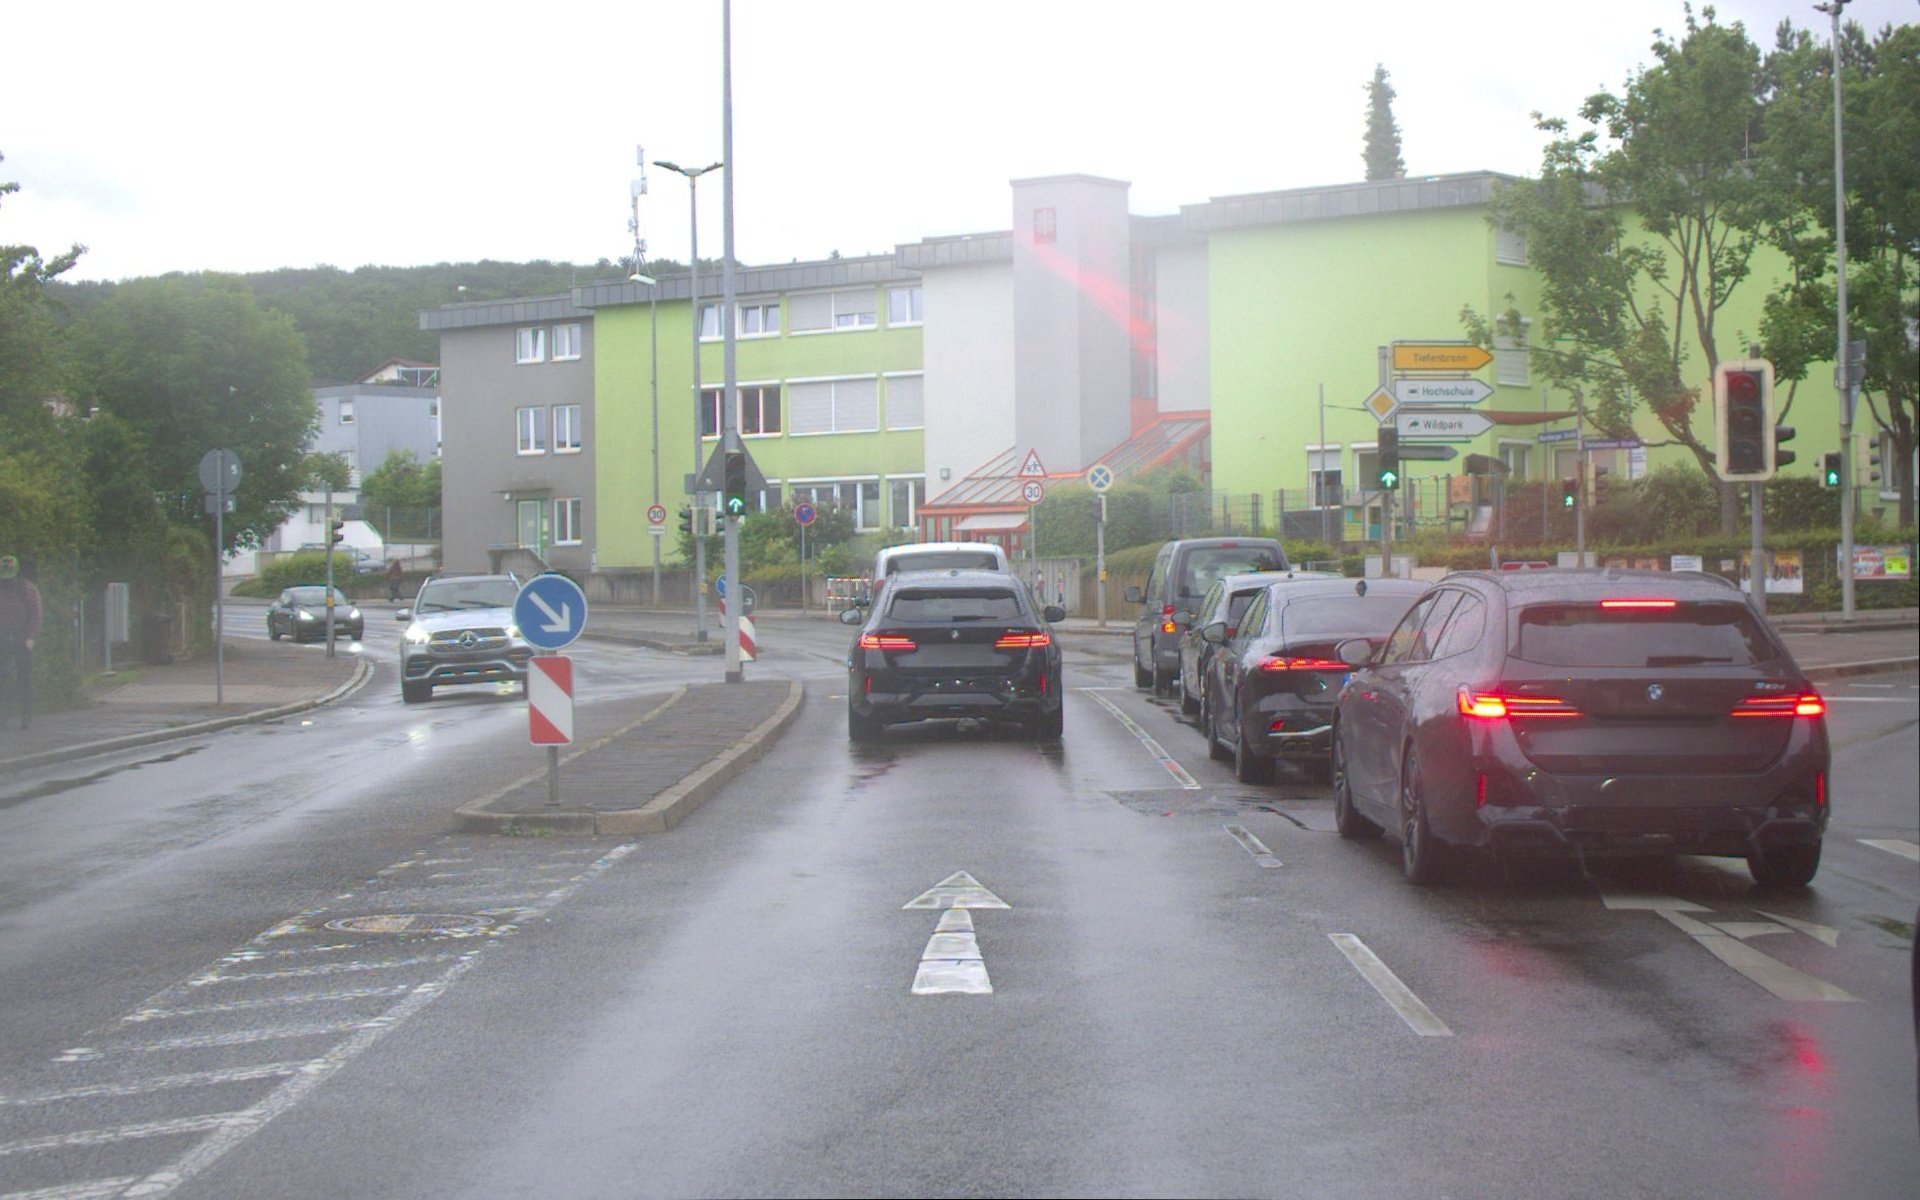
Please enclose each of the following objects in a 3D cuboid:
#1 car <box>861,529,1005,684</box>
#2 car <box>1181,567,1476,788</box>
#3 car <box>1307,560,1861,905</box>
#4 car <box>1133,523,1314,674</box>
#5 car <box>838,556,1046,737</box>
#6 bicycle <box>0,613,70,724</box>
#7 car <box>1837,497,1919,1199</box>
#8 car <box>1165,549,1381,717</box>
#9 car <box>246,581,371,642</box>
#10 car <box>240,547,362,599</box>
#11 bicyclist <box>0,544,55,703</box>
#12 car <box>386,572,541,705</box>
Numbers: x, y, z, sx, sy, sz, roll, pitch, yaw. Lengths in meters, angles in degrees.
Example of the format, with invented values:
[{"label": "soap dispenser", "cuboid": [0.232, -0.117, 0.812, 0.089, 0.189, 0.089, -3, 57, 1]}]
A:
[{"label": "car", "cuboid": [-0.380, 0.041, 43.055, 1.717, 1.838, 4.087, 0, 1, -2]}, {"label": "car", "cuboid": [2.635, 0.503, 25.473, 1.706, 1.422, 4.509, -1, 1, 0]}, {"label": "car", "cuboid": [2.984, 0.556, 17.491, 1.905, 1.453, 4.778, -1, 1, 0]}, {"label": "car", "cuboid": [3.112, -0.056, 41.328, 1.783, 1.728, 4.087, 0, 1, -1]}, {"label": "car", "cuboid": [-0.223, 0.375, 31.386, 1.682, 1.501, 3.774, -2, 1, -3]}, {"label": "bicycle", "cuboid": [-9.732, 0.685, 35.235, 0.747, 1.082, 1.989, 0, 0, -1]}, {"label": "car", "cuboid": [3.032, 0.645, 6.365, 1.790, 1.598, 4.254, 0, 3, 1]}, {"label": "car", "cuboid": [3.008, 0.273, 33.792, 1.850, 1.481, 4.086, -2, 1, 2]}, {"label": "car", "cuboid": [-17.823, 0.329, 93.989, 1.793, 1.484, 4.153, -4, 1, -34]}, {"label": "car", "cuboid": [-25.498, -1.051, 132.967, 4.393, 1.766, 2.000, -3, 1, -16]}, {"label": "bicyclist", "cuboid": [-9.732, 0.234, 35.106, 0.764, 1.606, 0.868, 0, 0, -1]}, {"label": "car", "cuboid": [-7.146, 0.510, 49.524, 2.040, 1.710, 4.483, -2, 1, -8]}]
